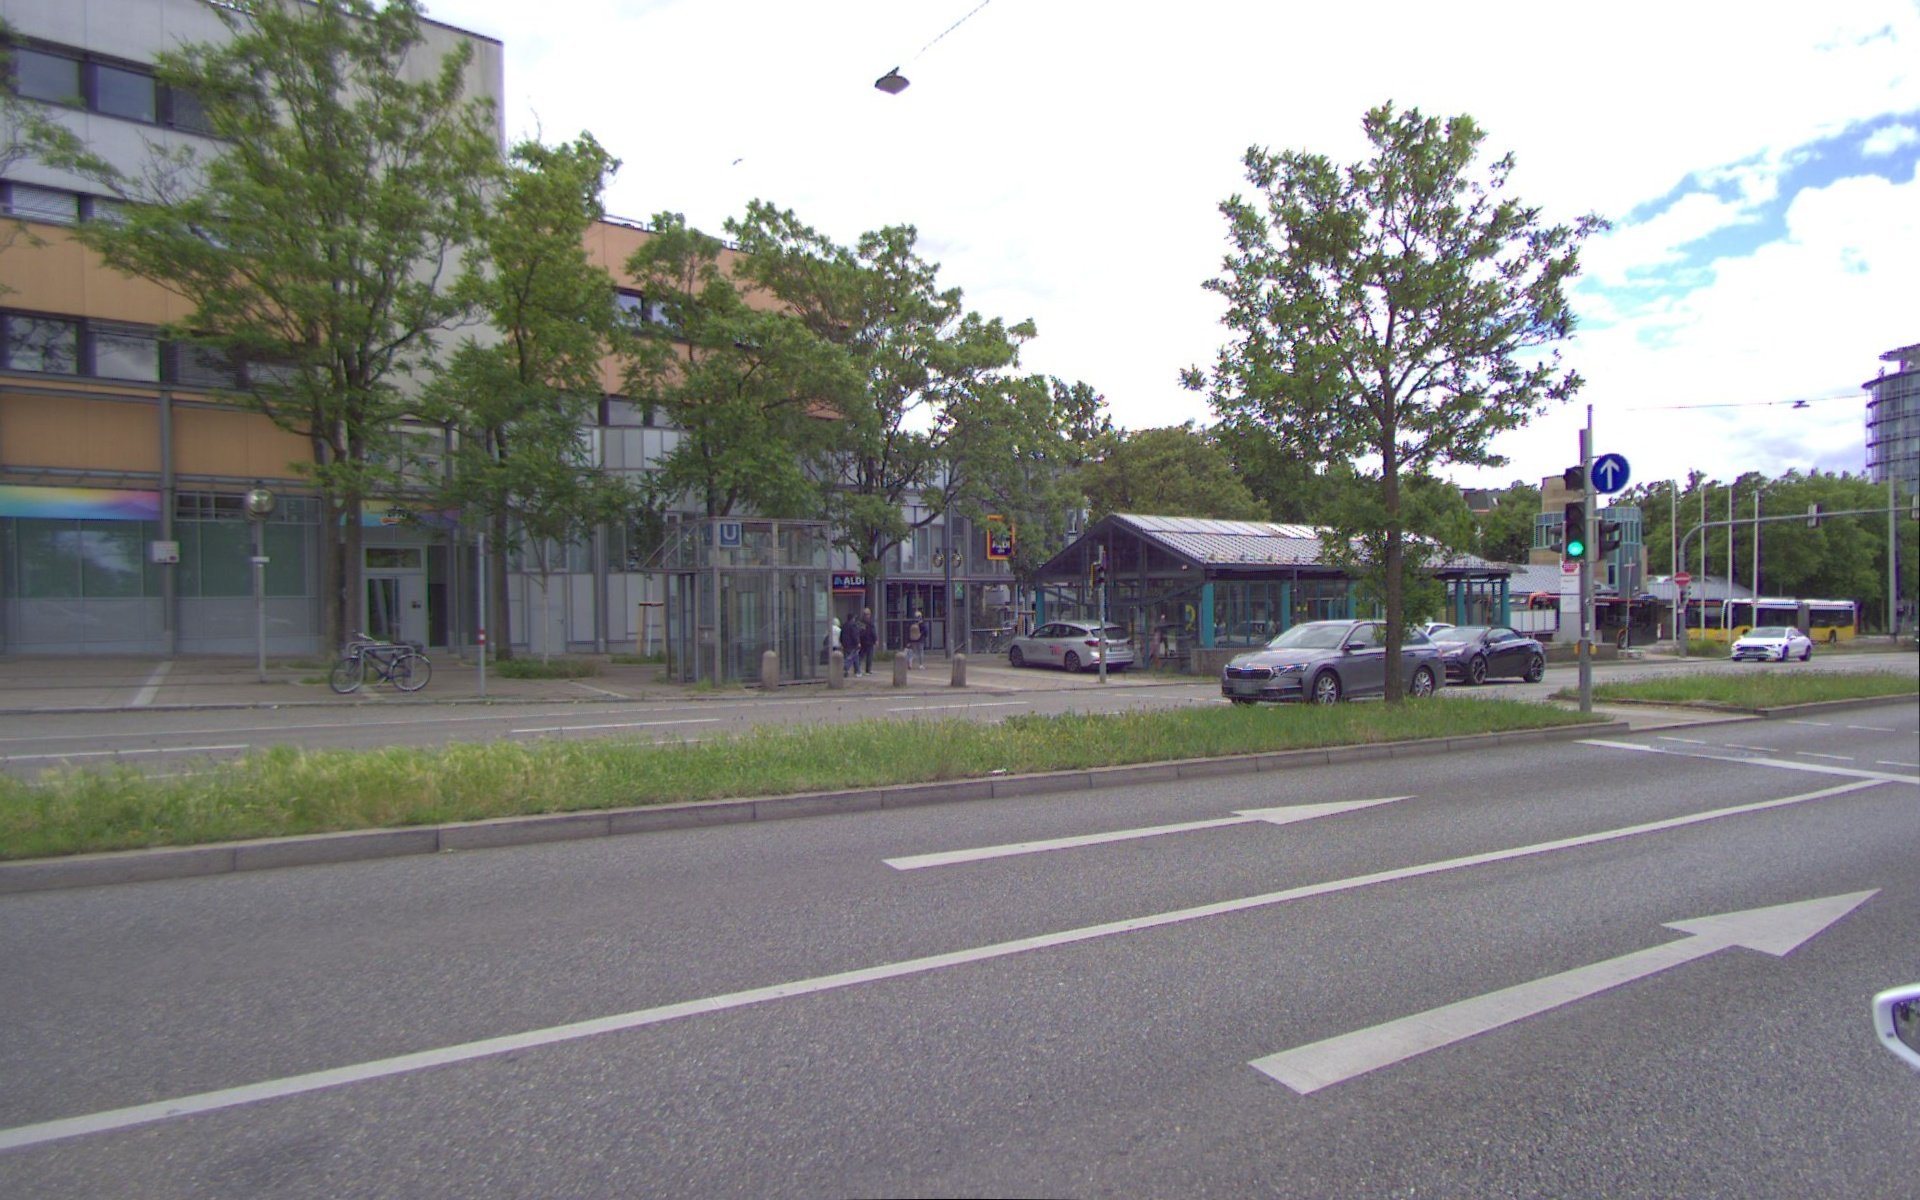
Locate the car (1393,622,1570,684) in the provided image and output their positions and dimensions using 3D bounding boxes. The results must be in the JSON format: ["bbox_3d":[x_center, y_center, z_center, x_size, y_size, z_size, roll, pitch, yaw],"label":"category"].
[{"bbox_3d":[12.953,1.283,24.831,4.961,1.416,1.802,1,-3,-35],"label":"car"}]

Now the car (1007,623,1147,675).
[{"bbox_3d":[3.363,1.381,29.500,1.980,1.372,3.961,1,-1,-35],"label":"car"}]

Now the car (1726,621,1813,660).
[{"bbox_3d":[34.902,1.710,43.277,4.460,1.595,1.722,1,-1,-34],"label":"car"}]

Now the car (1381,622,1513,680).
[{"bbox_3d":[14.430,1.471,29.722,3.953,1.595,1.616,1,-1,-30],"label":"car"}]

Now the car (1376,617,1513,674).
[{"bbox_3d":[14.325,1.308,29.671,3.954,1.538,1.739,1,0,-31],"label":"car"}]

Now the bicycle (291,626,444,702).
[{"bbox_3d":[-11.105,1.155,18.867,2.400,1.288,1.045,1,1,-35],"label":"bicycle"}]

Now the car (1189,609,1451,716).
[{"bbox_3d":[6.178,0.986,17.081,4.469,1.595,1.981,1,-2,-34],"label":"car"}]

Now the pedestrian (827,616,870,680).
[{"bbox_3d":[-2.688,1.156,24.233,0.592,1.477,0.869,2,-1,29],"label":"pedestrian"}]

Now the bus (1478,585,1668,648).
[{"bbox_3d":[33.658,0.954,54.930,12.000,3.175,2.947,1,0,-27],"label":"bus"}]

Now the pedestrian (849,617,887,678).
[{"bbox_3d":[-2.338,1.194,25.579,0.592,1.477,0.869,2,0,25],"label":"pedestrian"}]

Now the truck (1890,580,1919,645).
[{"bbox_3d":[60.535,0.837,61.100,11.162,3.777,3.347,1,0,-34],"label":"truck"}]
